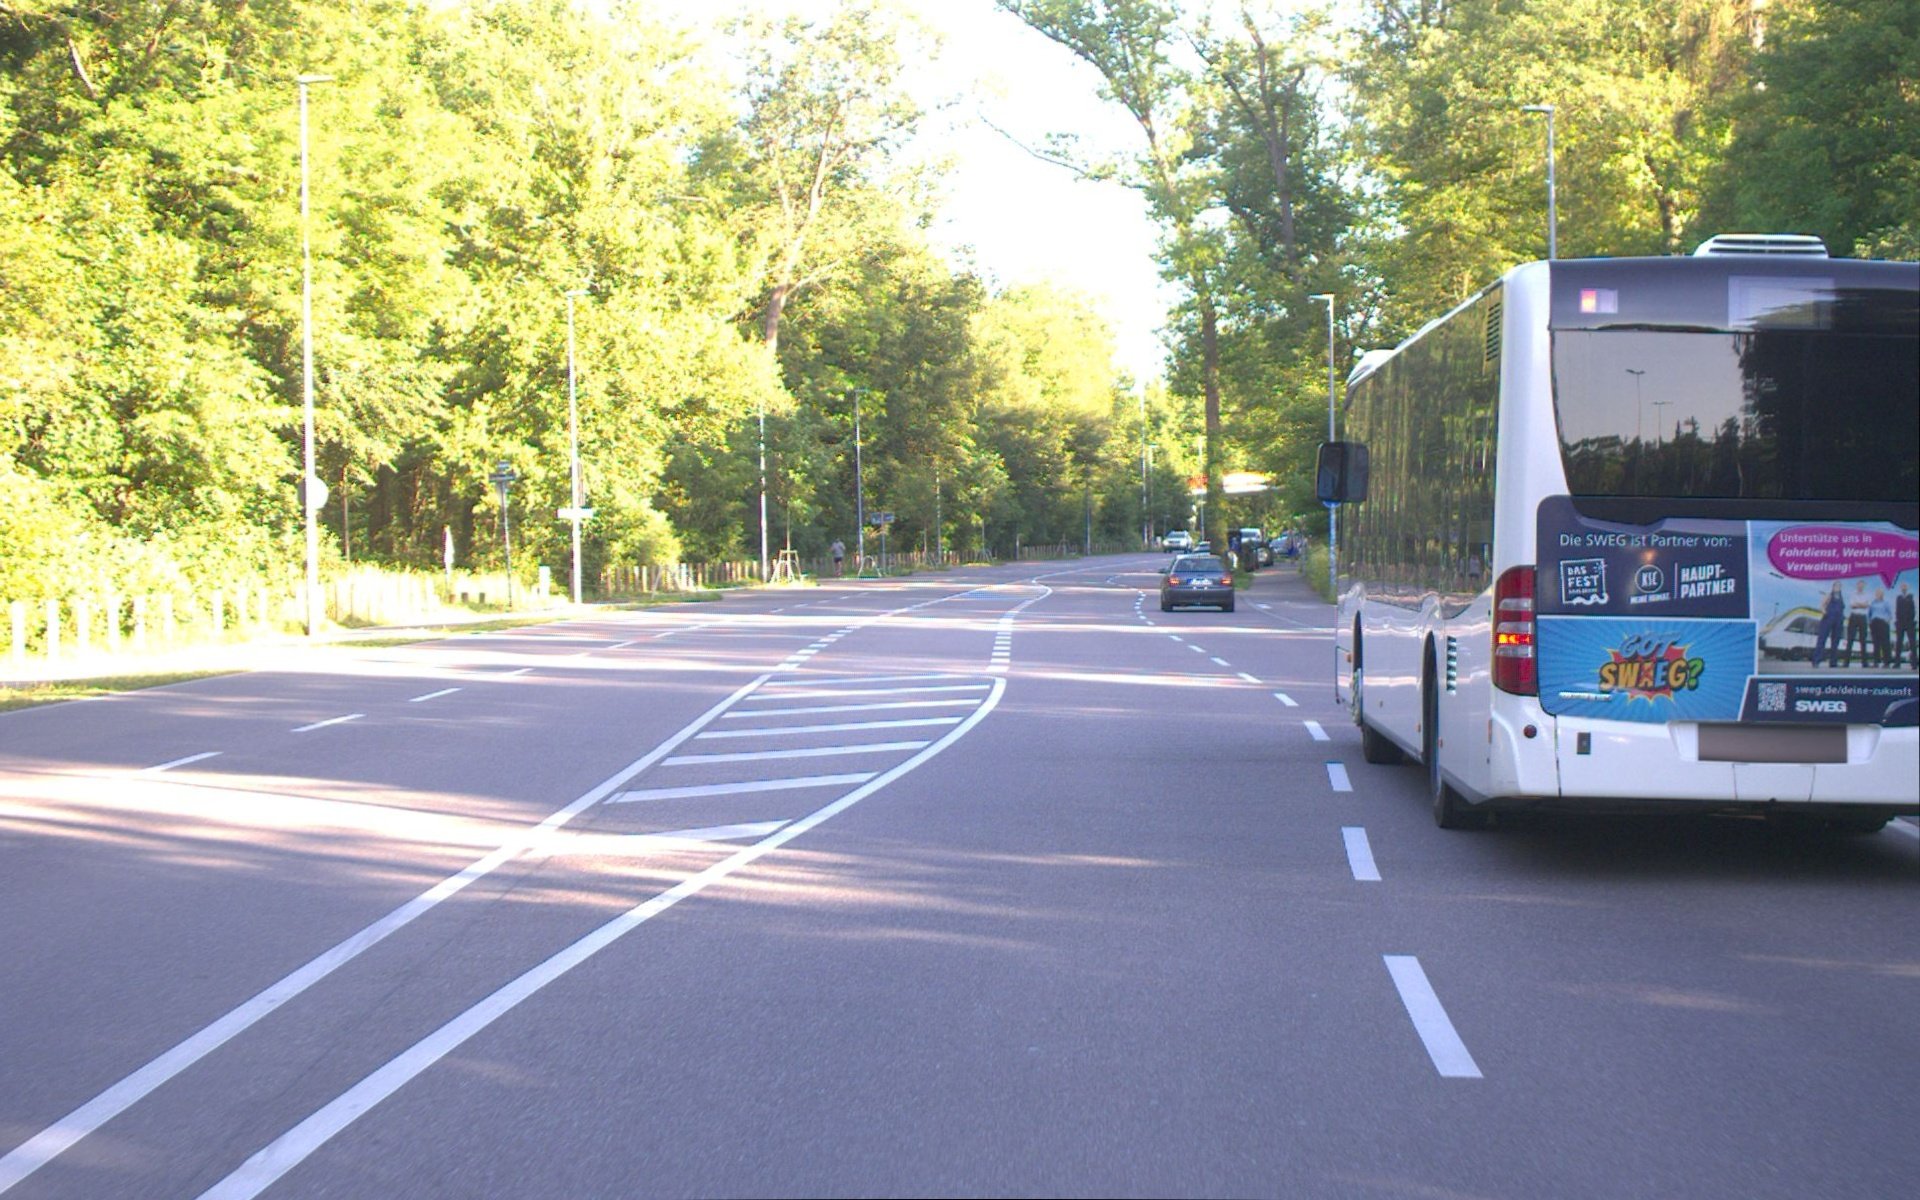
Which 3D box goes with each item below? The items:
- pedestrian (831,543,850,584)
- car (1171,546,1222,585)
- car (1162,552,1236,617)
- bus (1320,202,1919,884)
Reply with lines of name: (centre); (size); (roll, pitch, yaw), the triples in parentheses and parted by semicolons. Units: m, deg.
pedestrian: (-5.309, -1.631, 153.177); (0.779, 1.806, 0.770); (0, 1, 2)
car: (10.358, -1.490, 150.241); (1.632, 1.653, 4.130); (1, 1, 12)
car: (5.898, -0.380, 84.615); (1.632, 1.542, 4.131); (1, 1, 6)
bus: (3.934, -0.313, 21.382); (2.690, 3.032, 12.040); (1, 1, 3)
